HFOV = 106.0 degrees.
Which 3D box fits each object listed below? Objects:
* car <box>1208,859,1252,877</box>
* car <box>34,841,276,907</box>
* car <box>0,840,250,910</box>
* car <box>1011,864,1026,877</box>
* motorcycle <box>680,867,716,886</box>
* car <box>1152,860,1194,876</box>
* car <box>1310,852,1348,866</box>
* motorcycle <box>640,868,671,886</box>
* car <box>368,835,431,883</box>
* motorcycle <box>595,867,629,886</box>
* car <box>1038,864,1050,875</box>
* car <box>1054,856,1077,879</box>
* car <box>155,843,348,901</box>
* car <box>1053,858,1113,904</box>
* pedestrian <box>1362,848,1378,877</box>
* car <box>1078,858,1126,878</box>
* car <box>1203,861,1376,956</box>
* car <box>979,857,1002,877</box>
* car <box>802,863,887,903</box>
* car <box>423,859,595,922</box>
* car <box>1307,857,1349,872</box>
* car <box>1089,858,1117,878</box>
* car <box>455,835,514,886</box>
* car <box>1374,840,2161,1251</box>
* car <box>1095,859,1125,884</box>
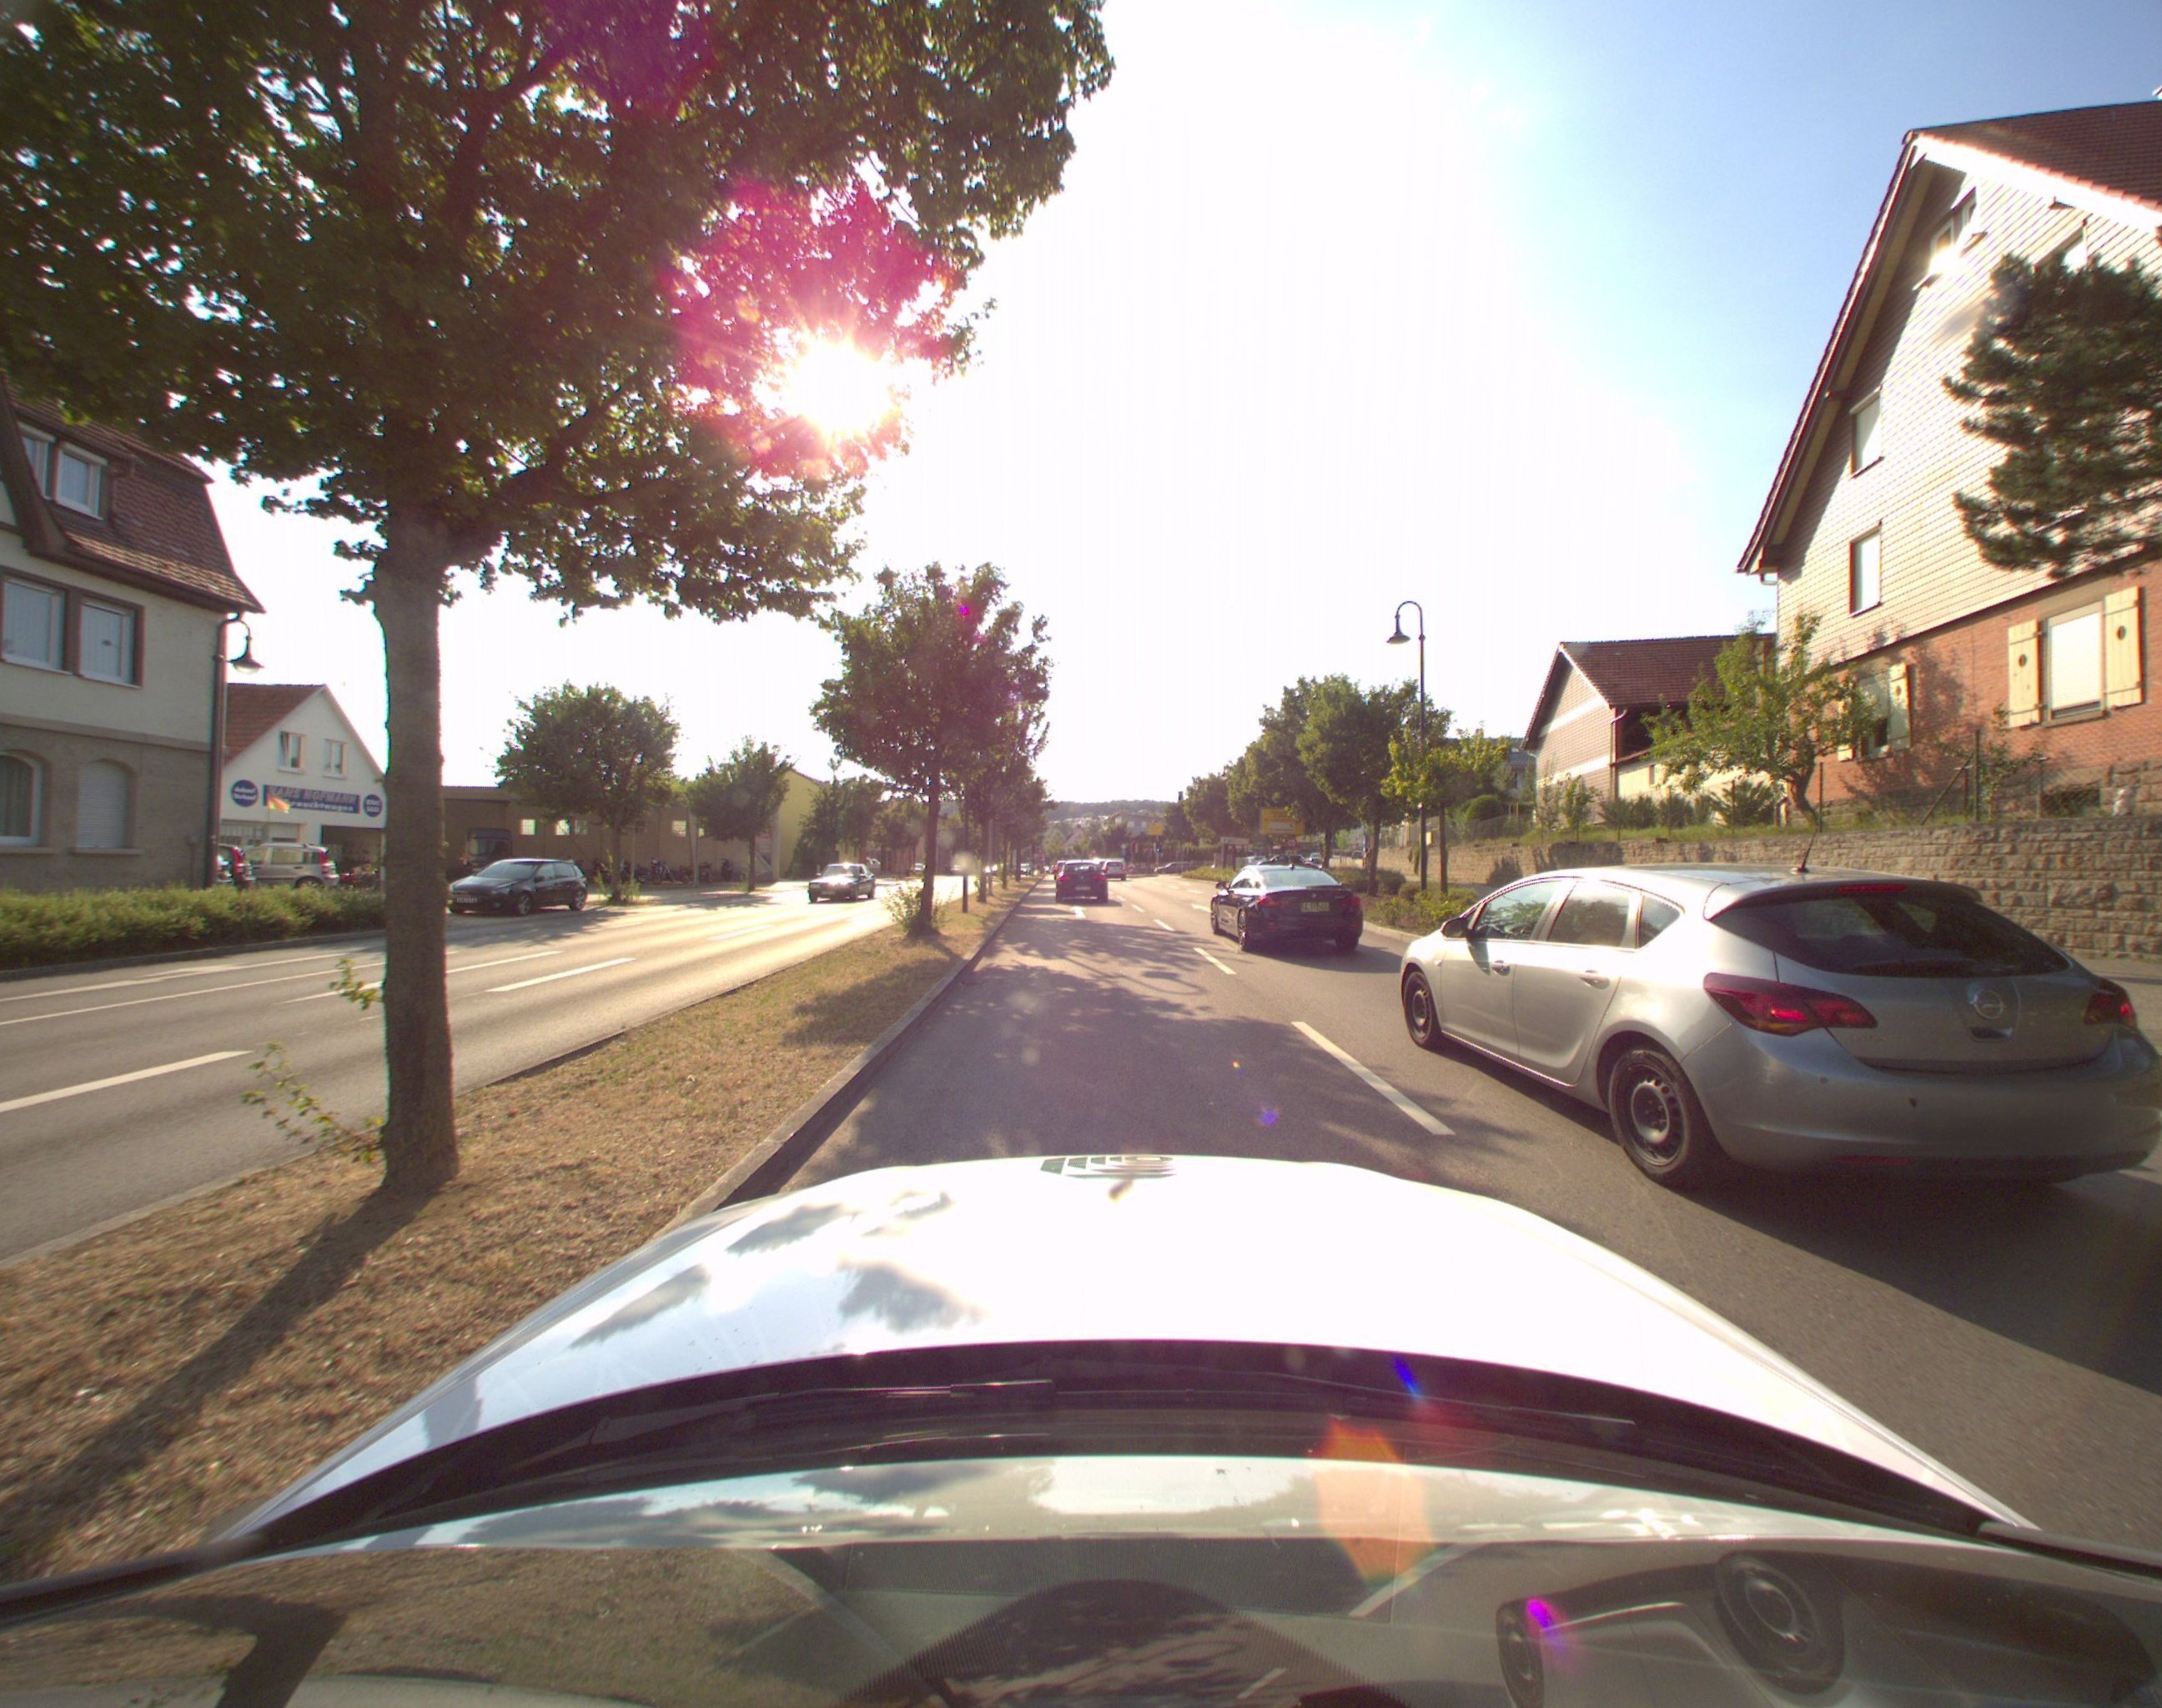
[{"bbox_3d":[17.330,1.619,94.651,4.540,1.929,2.137,0,0,-13],"label":"car"},{"bbox_3d":[-24.123,0.516,21.431,3.688,1.477,1.809,4,-1,-27],"label":"car"},{"bbox_3d":[-22.588,0.506,19.239,3.688,1.528,1.808,2,-2,-27],"label":"car"},{"bbox_3d":[-8.187,2.181,107.380,1.724,1.679,3.999,-1,0,0],"label":"car"},{"bbox_3d":[-22.148,1.307,47.080,0.510,1.069,1.882,-1,-1,34],"label":"motorcycle"},{"bbox_3d":[11.140,1.698,98.752,4.932,1.929,2.146,0,0,0],"label":"car"},{"bbox_3d":[33.857,0.638,111.331,4.622,1.829,1.997,-1,0,-5],"label":"car"},{"bbox_3d":[-24.510,1.324,46.909,0.511,1.005,1.552,-1,-1,29],"label":"motorcycle"},{"bbox_3d":[-34.041,0.230,40.775,2.052,2.150,4.273,4,-1,-37],"label":"car"},{"bbox_3d":[-27.074,1.270,47.058,0.510,1.069,1.647,-1,-1,30],"label":"motorcycle"},{"bbox_3d":[-6.918,2.869,153.322,1.765,2.013,4.003,0,0,2],"label":"car"},{"bbox_3d":[-1.298,1.088,66.418,1.751,1.769,3.967,-1,0,-2],"label":"car"},{"bbox_3d":[-24.272,0.551,24.047,3.697,1.477,1.804,4,-1,-38],"label":"car"},{"bbox_3d":[0.135,0.880,28.718,1.713,1.490,4.359,0,0,5],"label":"car"},{"bbox_3d":[16.999,0.482,47.899,0.692,1.703,0.951,-1,-1,6],"label":"pedestrian"},{"bbox_3d":[2.356,1.588,92.469,5.109,2.130,2.139,0,0,-10],"label":"car"},{"bbox_3d":[3.404,0.828,14.212,1.914,1.364,4.352,-1,-1,0],"label":"car"},{"bbox_3d":[-9.357,1.290,84.464,2.135,2.008,5.117,0,0,-4],"label":"car"},{"bbox_3d":[-8.862,1.059,30.916,1.749,1.361,4.486,-1,0,2],"label":"car"},{"bbox_3d":[-15.414,0.920,22.253,1.751,1.454,4.130,4,0,-1],"label":"car"},{"bbox_3d":[31.124,1.291,102.611,4.622,1.829,1.997,-1,0,-5],"label":"car"},{"bbox_3d":[1.940,1.222,72.728,2.211,1.769,4.450,-1,0,-2],"label":"car"},{"bbox_3d":[-30.521,0.311,41.605,2.053,2.336,4.270,4,-1,-40],"label":"car"},{"bbox_3d":[3.420,0.694,5.139,1.714,1.490,4.308,-1,0,2],"label":"car"},{"bbox_3d":[2.099,1.250,60.818,1.920,1.769,4.450,-1,0,-2],"label":"car"}]
